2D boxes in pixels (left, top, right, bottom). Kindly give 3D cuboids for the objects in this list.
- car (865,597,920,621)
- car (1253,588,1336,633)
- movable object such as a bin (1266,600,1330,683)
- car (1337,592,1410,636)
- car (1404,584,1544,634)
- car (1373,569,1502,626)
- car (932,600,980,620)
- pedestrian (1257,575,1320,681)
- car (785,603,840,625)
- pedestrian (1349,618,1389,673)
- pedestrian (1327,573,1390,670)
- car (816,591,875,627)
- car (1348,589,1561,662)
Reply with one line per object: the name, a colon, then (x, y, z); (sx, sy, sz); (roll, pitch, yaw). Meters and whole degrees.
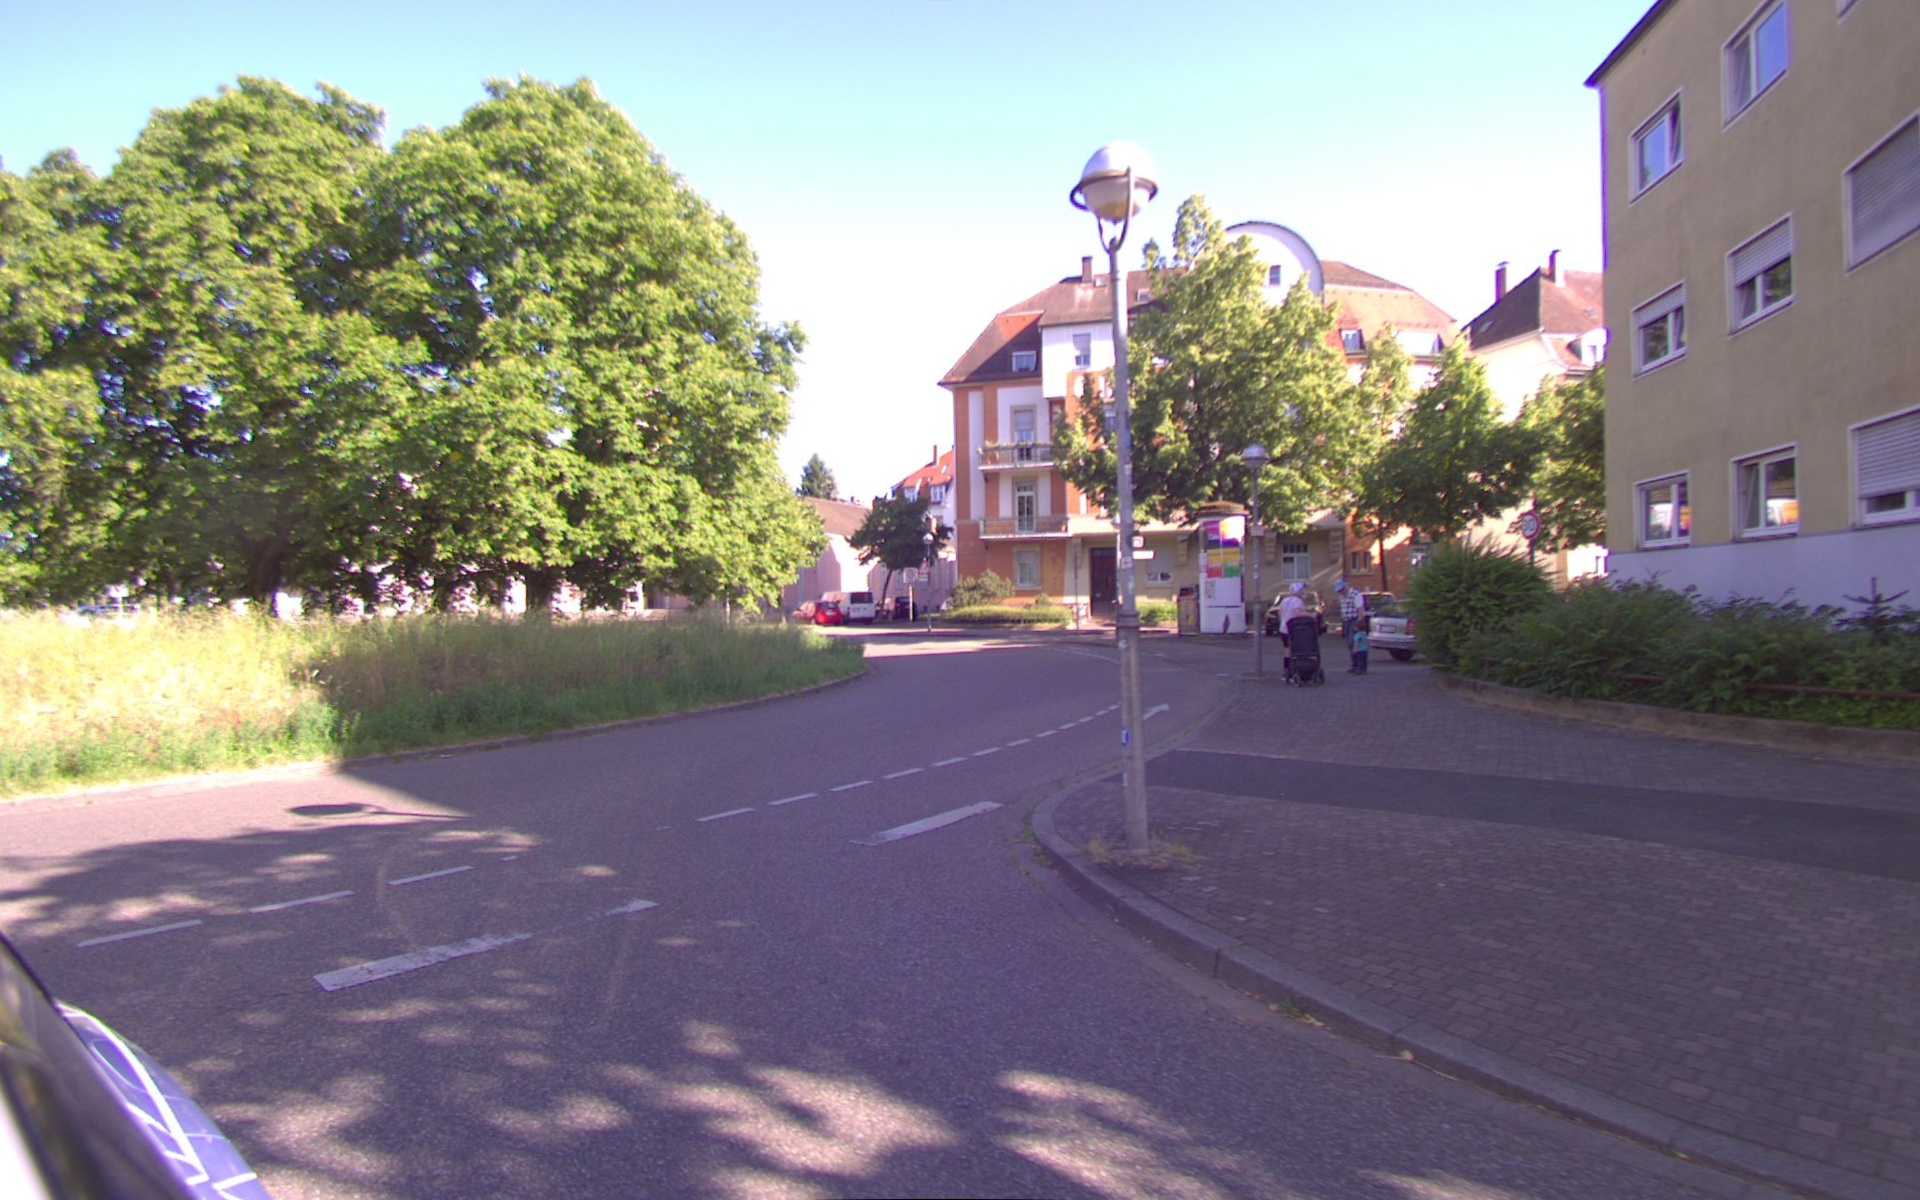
car: (-4.332, 0.581, 64.519); (1.715, 1.491, 4.010); (-1, 0, -34)
car: (11.314, 0.344, 34.031); (1.991, 1.409, 3.962); (-1, 0, 28)
movable object such as a bin: (5.078, 0.607, 15.250); (0.761, 1.205, 0.842); (-1, 0, 10)
car: (13.042, 0.416, 31.780); (1.701, 1.294, 4.218); (-1, 0, 28)
car: (15.948, 0.278, 31.655); (1.681, 1.435, 4.266); (-1, 0, -9)
car: (17.176, -0.073, 36.602); (1.966, 1.895, 4.012); (-1, 0, -18)
car: (-0.308, 0.790, 77.641); (1.715, 1.491, 4.010); (-1, 0, -34)
pedestrian: (5.199, 0.430, 16.042); (0.686, 1.627, 0.666); (-1, -1, -42)
car: (-8.319, 0.772, 56.754); (1.739, 1.187, 4.012); (-1, 0, -29)
pedestrian: (6.807, 0.744, 16.842); (0.424, 0.882, 0.456); (-1, -1, -36)
pedestrian: (6.907, 0.365, 17.549); (0.747, 1.627, 0.747); (-1, -1, -44)
car: (-6.689, 0.536, 58.976); (1.966, 2.029, 4.012); (-1, 0, -29)
car: (10.958, 0.532, 22.519); (3.932, 1.454, 1.902); (-1, 0, -15)
